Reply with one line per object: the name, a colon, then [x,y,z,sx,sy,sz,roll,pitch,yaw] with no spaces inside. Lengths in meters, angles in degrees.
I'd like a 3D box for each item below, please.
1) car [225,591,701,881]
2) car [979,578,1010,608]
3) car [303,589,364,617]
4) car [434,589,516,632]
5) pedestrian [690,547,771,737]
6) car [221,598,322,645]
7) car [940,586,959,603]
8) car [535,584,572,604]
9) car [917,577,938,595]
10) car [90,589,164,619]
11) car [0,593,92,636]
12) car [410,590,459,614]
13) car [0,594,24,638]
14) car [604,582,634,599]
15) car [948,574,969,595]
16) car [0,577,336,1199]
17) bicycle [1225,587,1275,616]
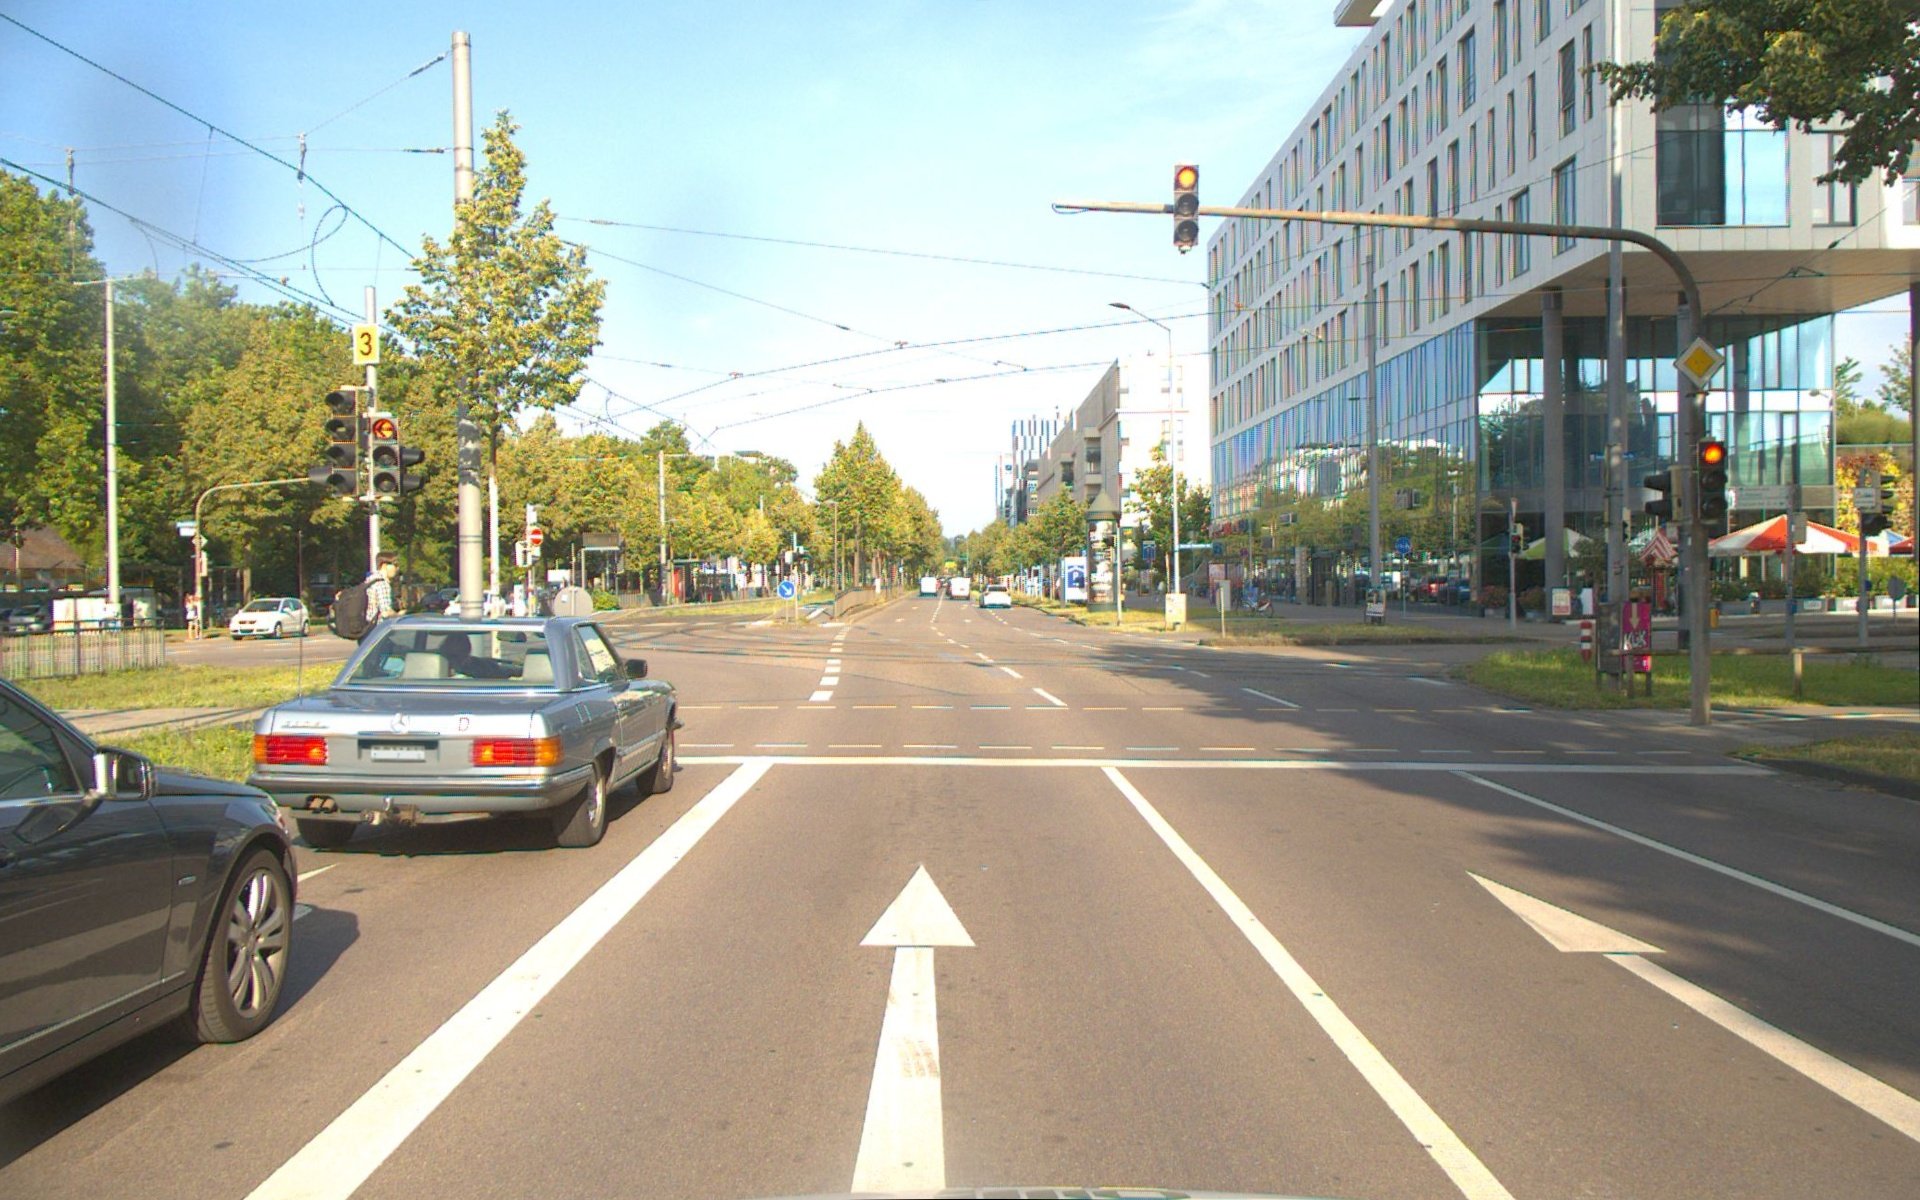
car: [-2.806,0.665,10.390,1.728,1.353,4.399,1,1,-1]
car: [2.109,-0.447,101.662,1.826,1.713,4.000,1,1,0]
car: [-37.784,0.176,99.832,1.841,1.586,4.002,-1,0,5]
car: [-19.050,0.385,65.124,1.953,1.530,4.093,-1,2,0]
pedestrian: [-2.246,0.398,16.244,0.685,1.823,0.635,1,0,0]
car: [-25.107,0.754,60.469,1.838,1.554,4.224,-1,1,1]
car: [-1.105,-0.582,171.085,1.884,1.713,4.000,1,1,0]
car: [-34.444,-0.505,140.368,1.841,1.586,4.002,-1,0,5]
car: [-3.177,-1.426,164.423,1.973,1.713,4.000,1,1,0]
car: [-46.364,0.214,92.108,1.841,1.586,4.002,-1,0,5]
car: [-39.560,0.597,71.371,1.841,1.780,4.002,-1,0,5]
car: [-36.445,0.124,114.870,1.841,1.586,4.002,-1,0,5]
car: [-39.879,0.683,66.609,1.841,1.780,4.002,-1,0,5]
car: [-33.135,-0.904,160.800,1.841,1.586,4.002,-1,0,5]
car: [-0.121,-1.320,141.936,1.826,1.713,4.000,1,1,0]
car: [-3.070,0.719,3.671,1.750,1.504,4.353,1,1,-1]
bicycle: [11.366,0.064,64.868,0.768,1.050,1.849,-1,3,-44]
